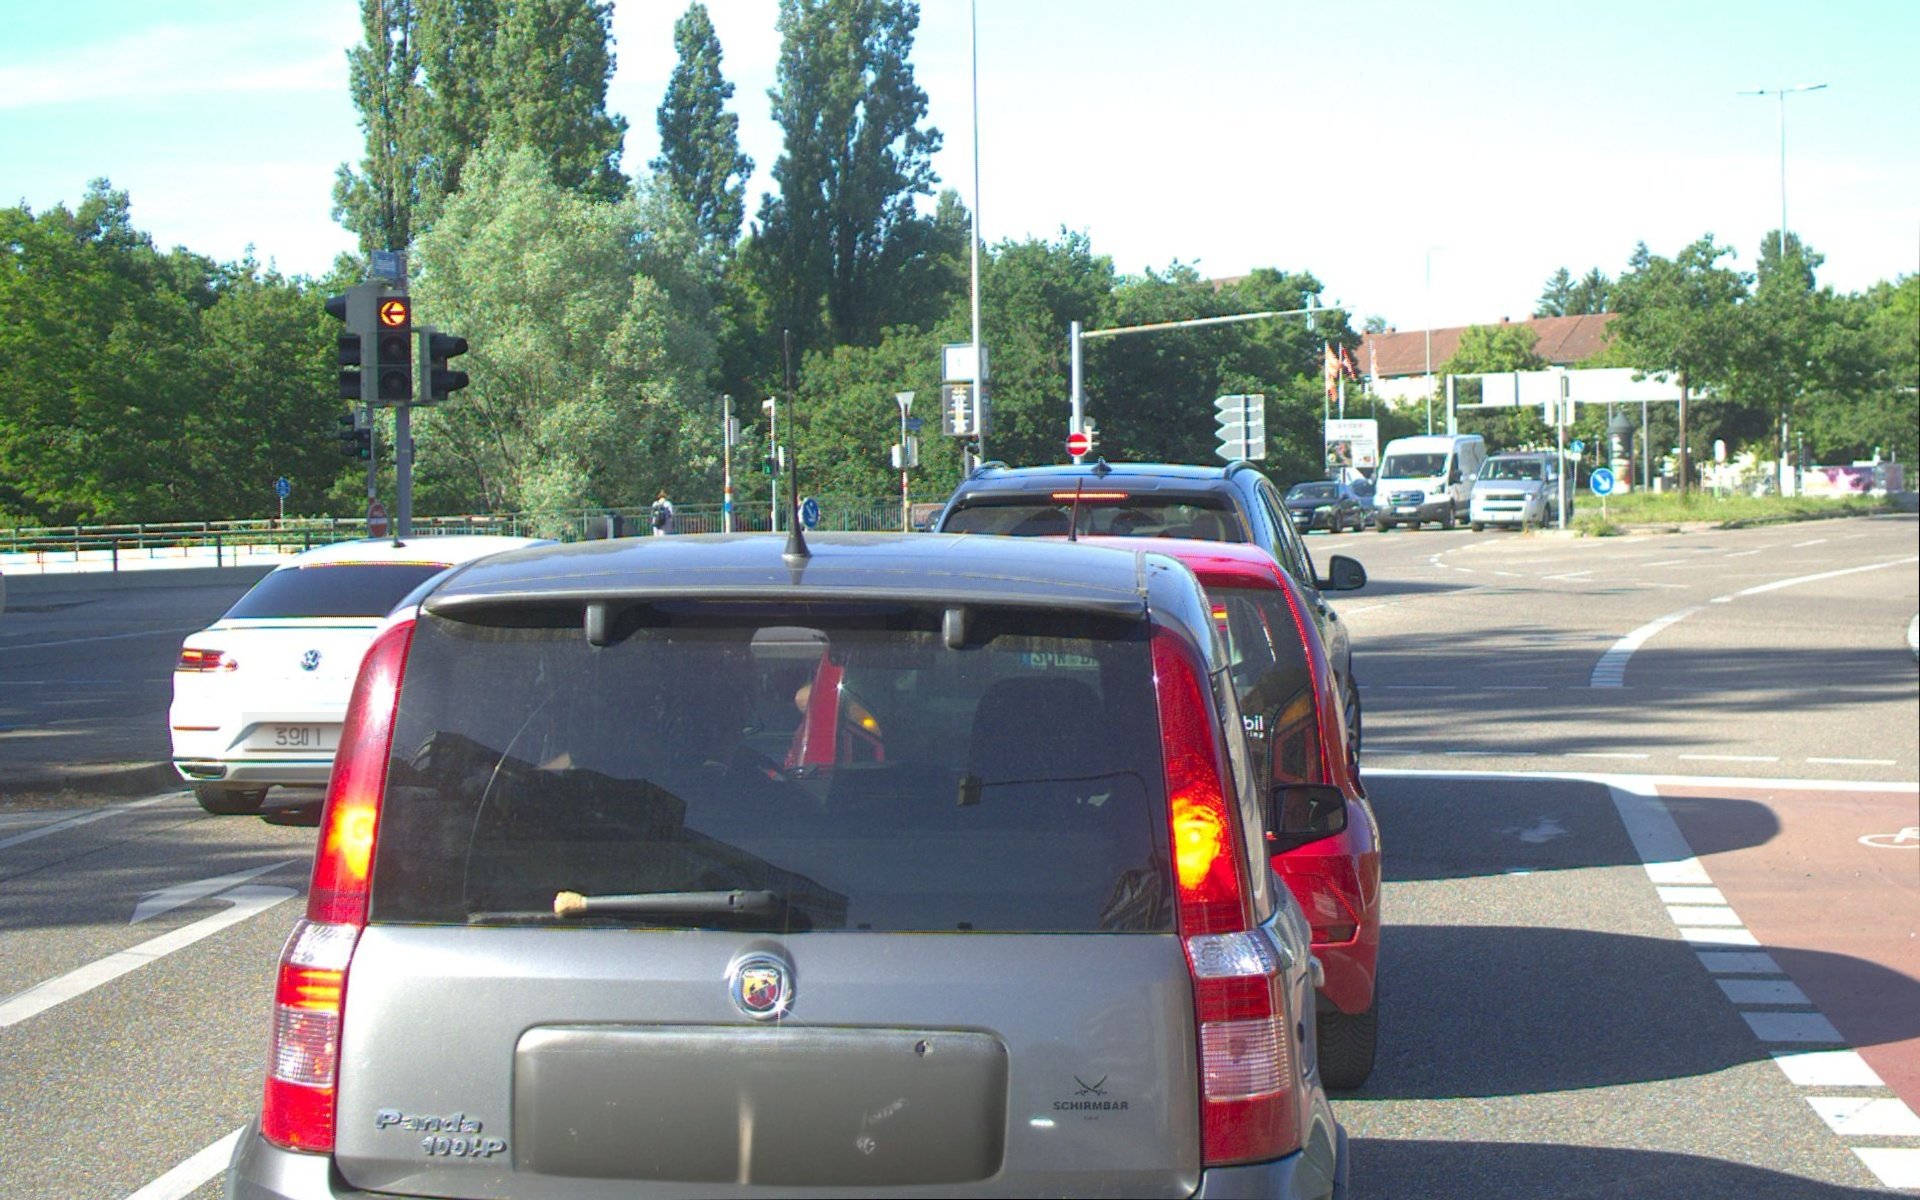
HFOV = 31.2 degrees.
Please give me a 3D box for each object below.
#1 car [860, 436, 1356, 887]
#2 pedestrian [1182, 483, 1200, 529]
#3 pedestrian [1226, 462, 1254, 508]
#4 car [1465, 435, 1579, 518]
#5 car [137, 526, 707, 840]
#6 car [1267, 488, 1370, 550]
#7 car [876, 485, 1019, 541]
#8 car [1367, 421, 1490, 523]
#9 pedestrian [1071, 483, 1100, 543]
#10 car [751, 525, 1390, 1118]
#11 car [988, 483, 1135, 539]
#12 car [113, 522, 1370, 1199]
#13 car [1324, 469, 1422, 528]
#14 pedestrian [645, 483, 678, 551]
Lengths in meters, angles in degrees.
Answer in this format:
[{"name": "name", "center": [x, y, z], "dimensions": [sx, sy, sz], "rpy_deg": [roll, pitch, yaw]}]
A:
[{"name": "car", "center": [0.838, 0.187, 16.171], "dimensions": [1.946, 1.833, 4.152], "rpy_deg": [-1, 2, 8]}, {"name": "pedestrian", "center": [8.541, -3.461, 127.053], "dimensions": [0.499, 1.696, 0.499], "rpy_deg": [1, 0, 24]}, {"name": "pedestrian", "center": [10.281, -4.208, 126.280], "dimensions": [0.791, 1.658, 0.628], "rpy_deg": [1, 1, 40]}, {"name": "car", "center": [14.209, -3.132, 86.752], "dimensions": [1.938, 2.001, 4.927], "rpy_deg": [0, 2, 20]}, {"name": "car", "center": [-2.717, 0.345, 18.425], "dimensions": [1.781, 1.410, 4.318], "rpy_deg": [0, 2, 9]}, {"name": "car", "center": [9.594, -2.169, 91.747], "dimensions": [1.938, 1.502, 3.997], "rpy_deg": [-2, 2, 17]}, {"name": "car", "center": [-0.377, -2.623, 104.127], "dimensions": [3.988, 1.619, 1.900], "rpy_deg": [0, 1, -38]}, {"name": "car", "center": [12.412, -3.396, 90.738], "dimensions": [1.938, 2.567, 6.083], "rpy_deg": [0, 2, 20]}, {"name": "pedestrian", "center": [3.307, -2.291, 90.713], "dimensions": [0.556, 1.542, 0.576], "rpy_deg": [-2, 1, -16]}, {"name": "car", "center": [0.435, 0.535, 10.677], "dimensions": [1.618, 1.458, 3.750], "rpy_deg": [-1, 2, 5]}, {"name": "car", "center": [3.023, -2.652, 101.982], "dimensions": [4.317, 1.530, 1.784], "rpy_deg": [-3, 4, -41]}, {"name": "car", "center": [-0.127, 0.649, 6.332], "dimensions": [1.618, 1.510, 3.819], "rpy_deg": [-1, 2, 5]}, {"name": "car", "center": [11.831, -2.923, 98.337], "dimensions": [1.812, 1.536, 4.613], "rpy_deg": [-2, 2, 19]}, {"name": "pedestrian", "center": [-6.514, -1.805, 74.910], "dimensions": [0.679, 1.458, 0.703], "rpy_deg": [-1, 2, -6]}]
